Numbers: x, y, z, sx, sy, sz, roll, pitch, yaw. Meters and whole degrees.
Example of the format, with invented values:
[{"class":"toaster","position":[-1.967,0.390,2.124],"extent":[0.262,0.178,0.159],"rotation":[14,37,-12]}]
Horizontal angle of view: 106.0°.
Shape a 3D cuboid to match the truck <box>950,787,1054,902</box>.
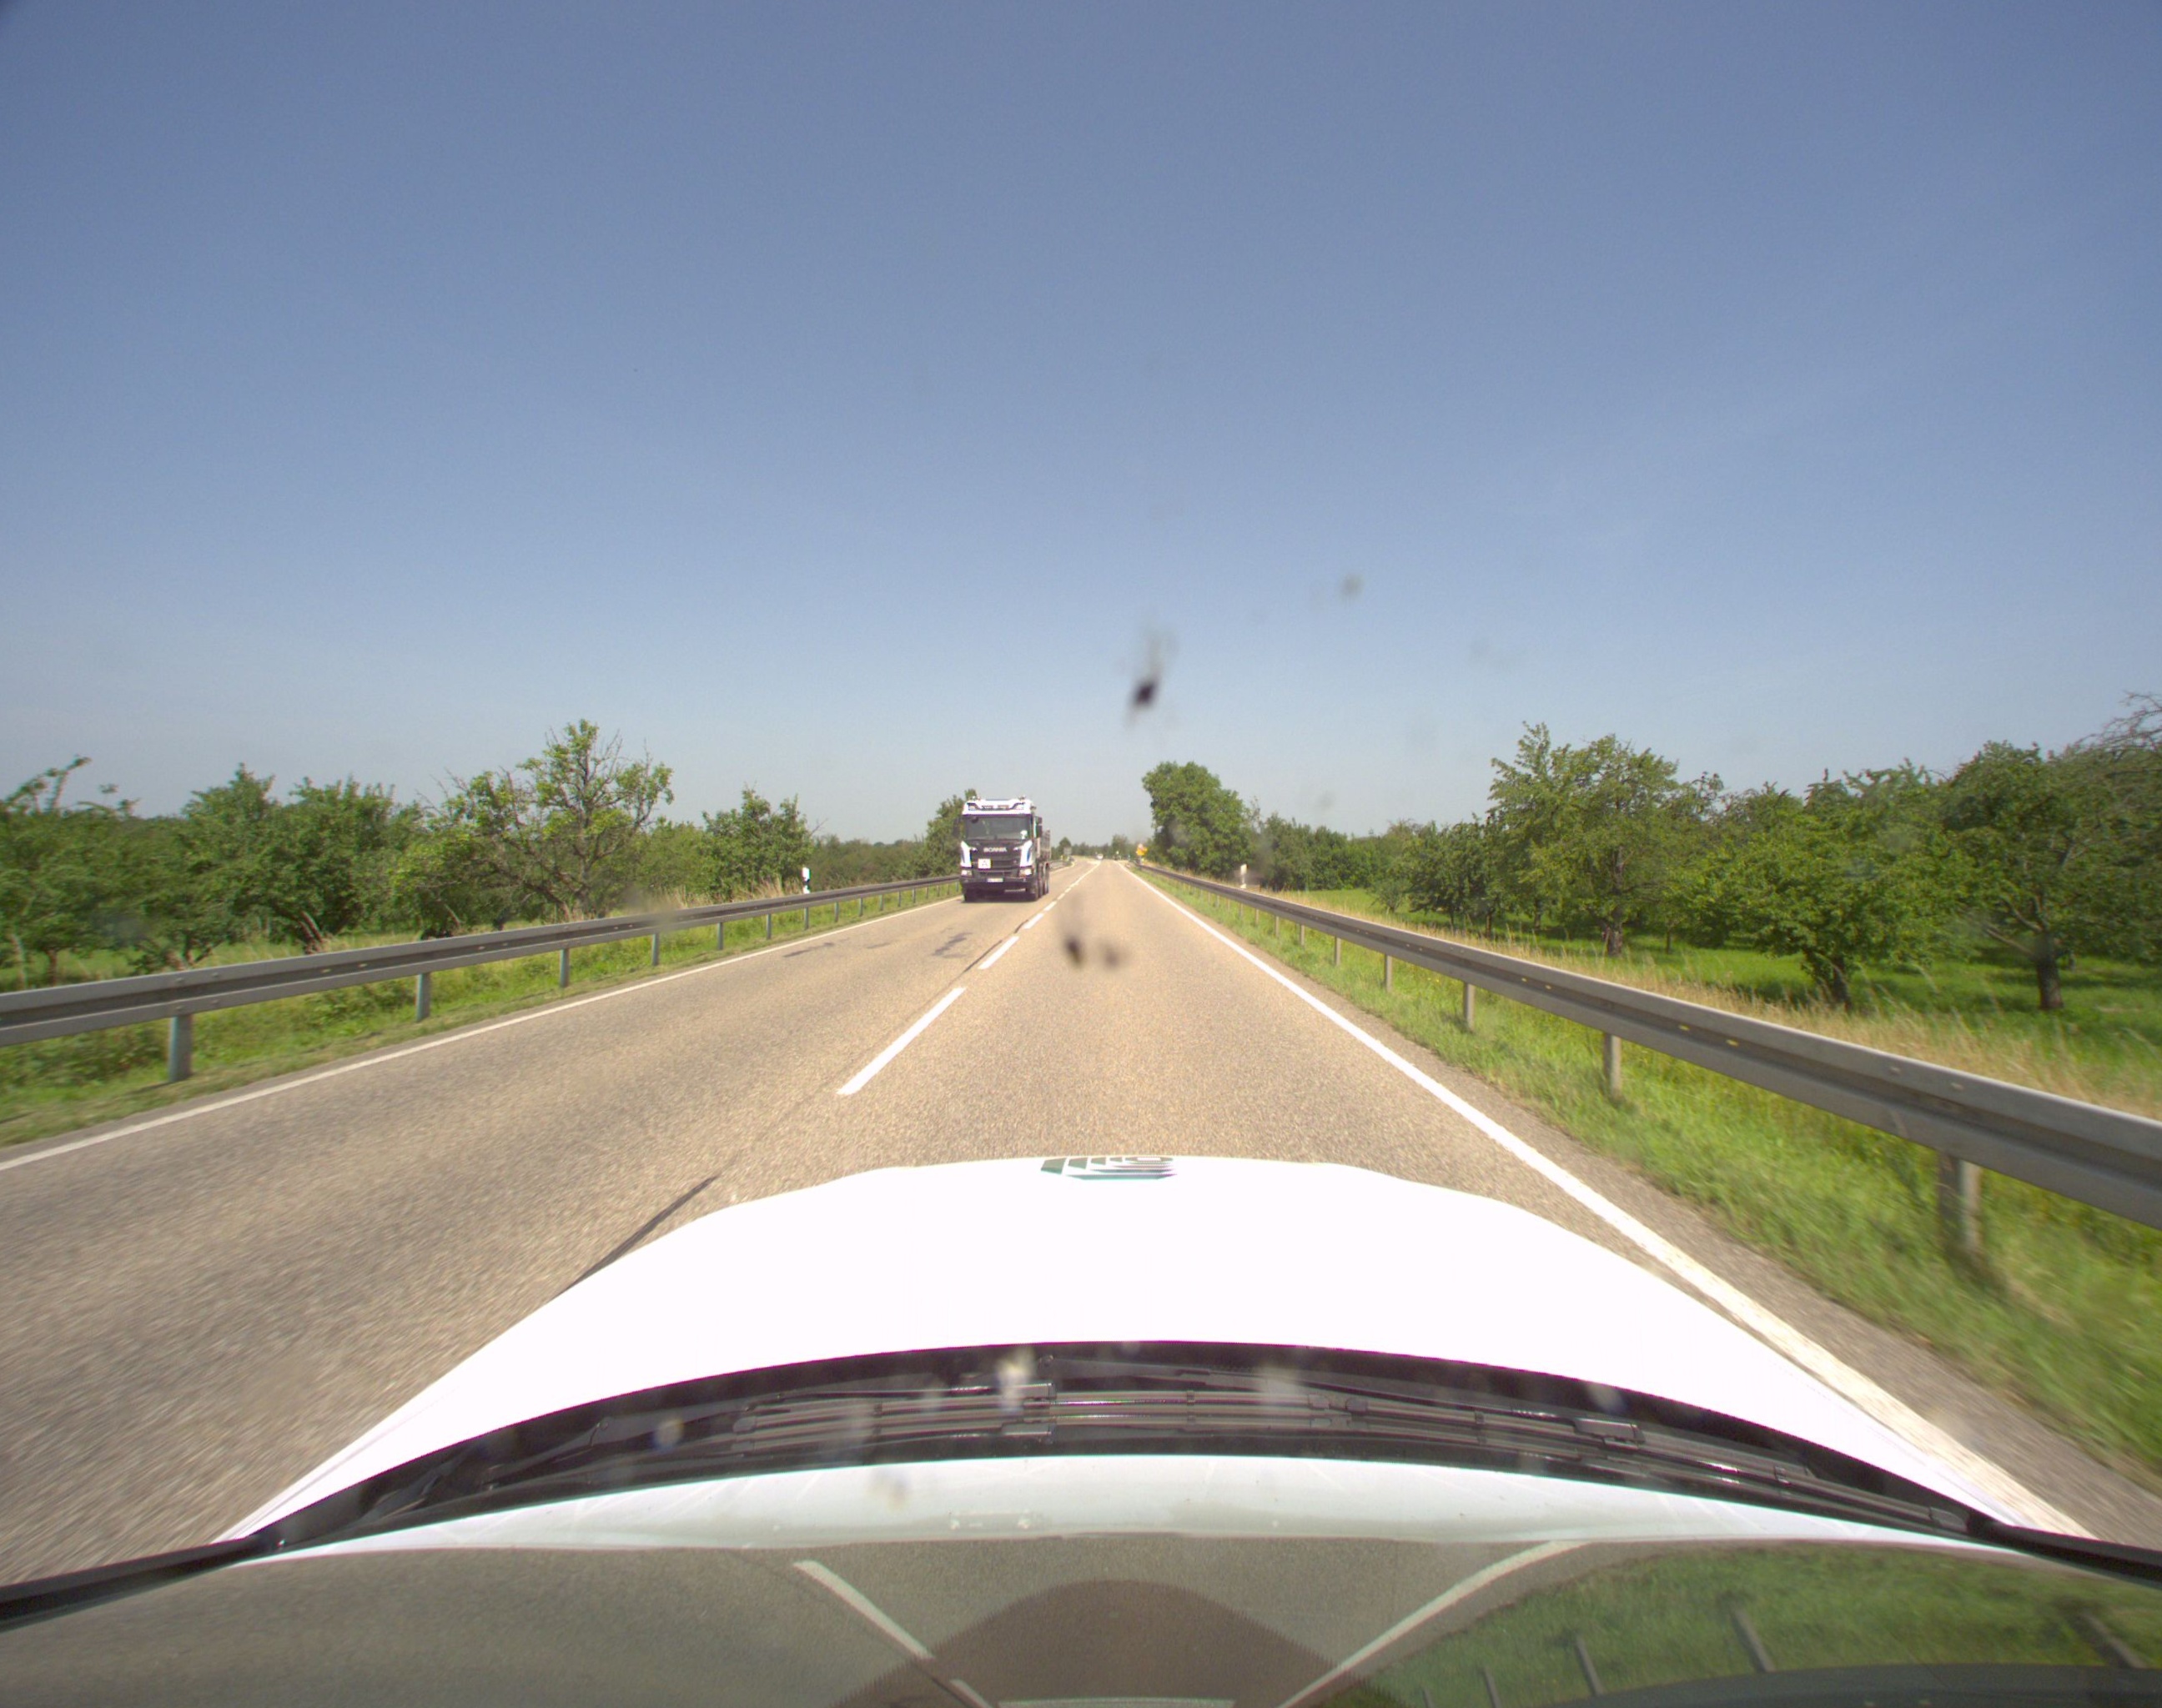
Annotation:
[{"class":"truck","position":[-2.711,-0.278,30.868],"extent":[2.718,3.672,9.386],"rotation":[-1,-1,2]}]
